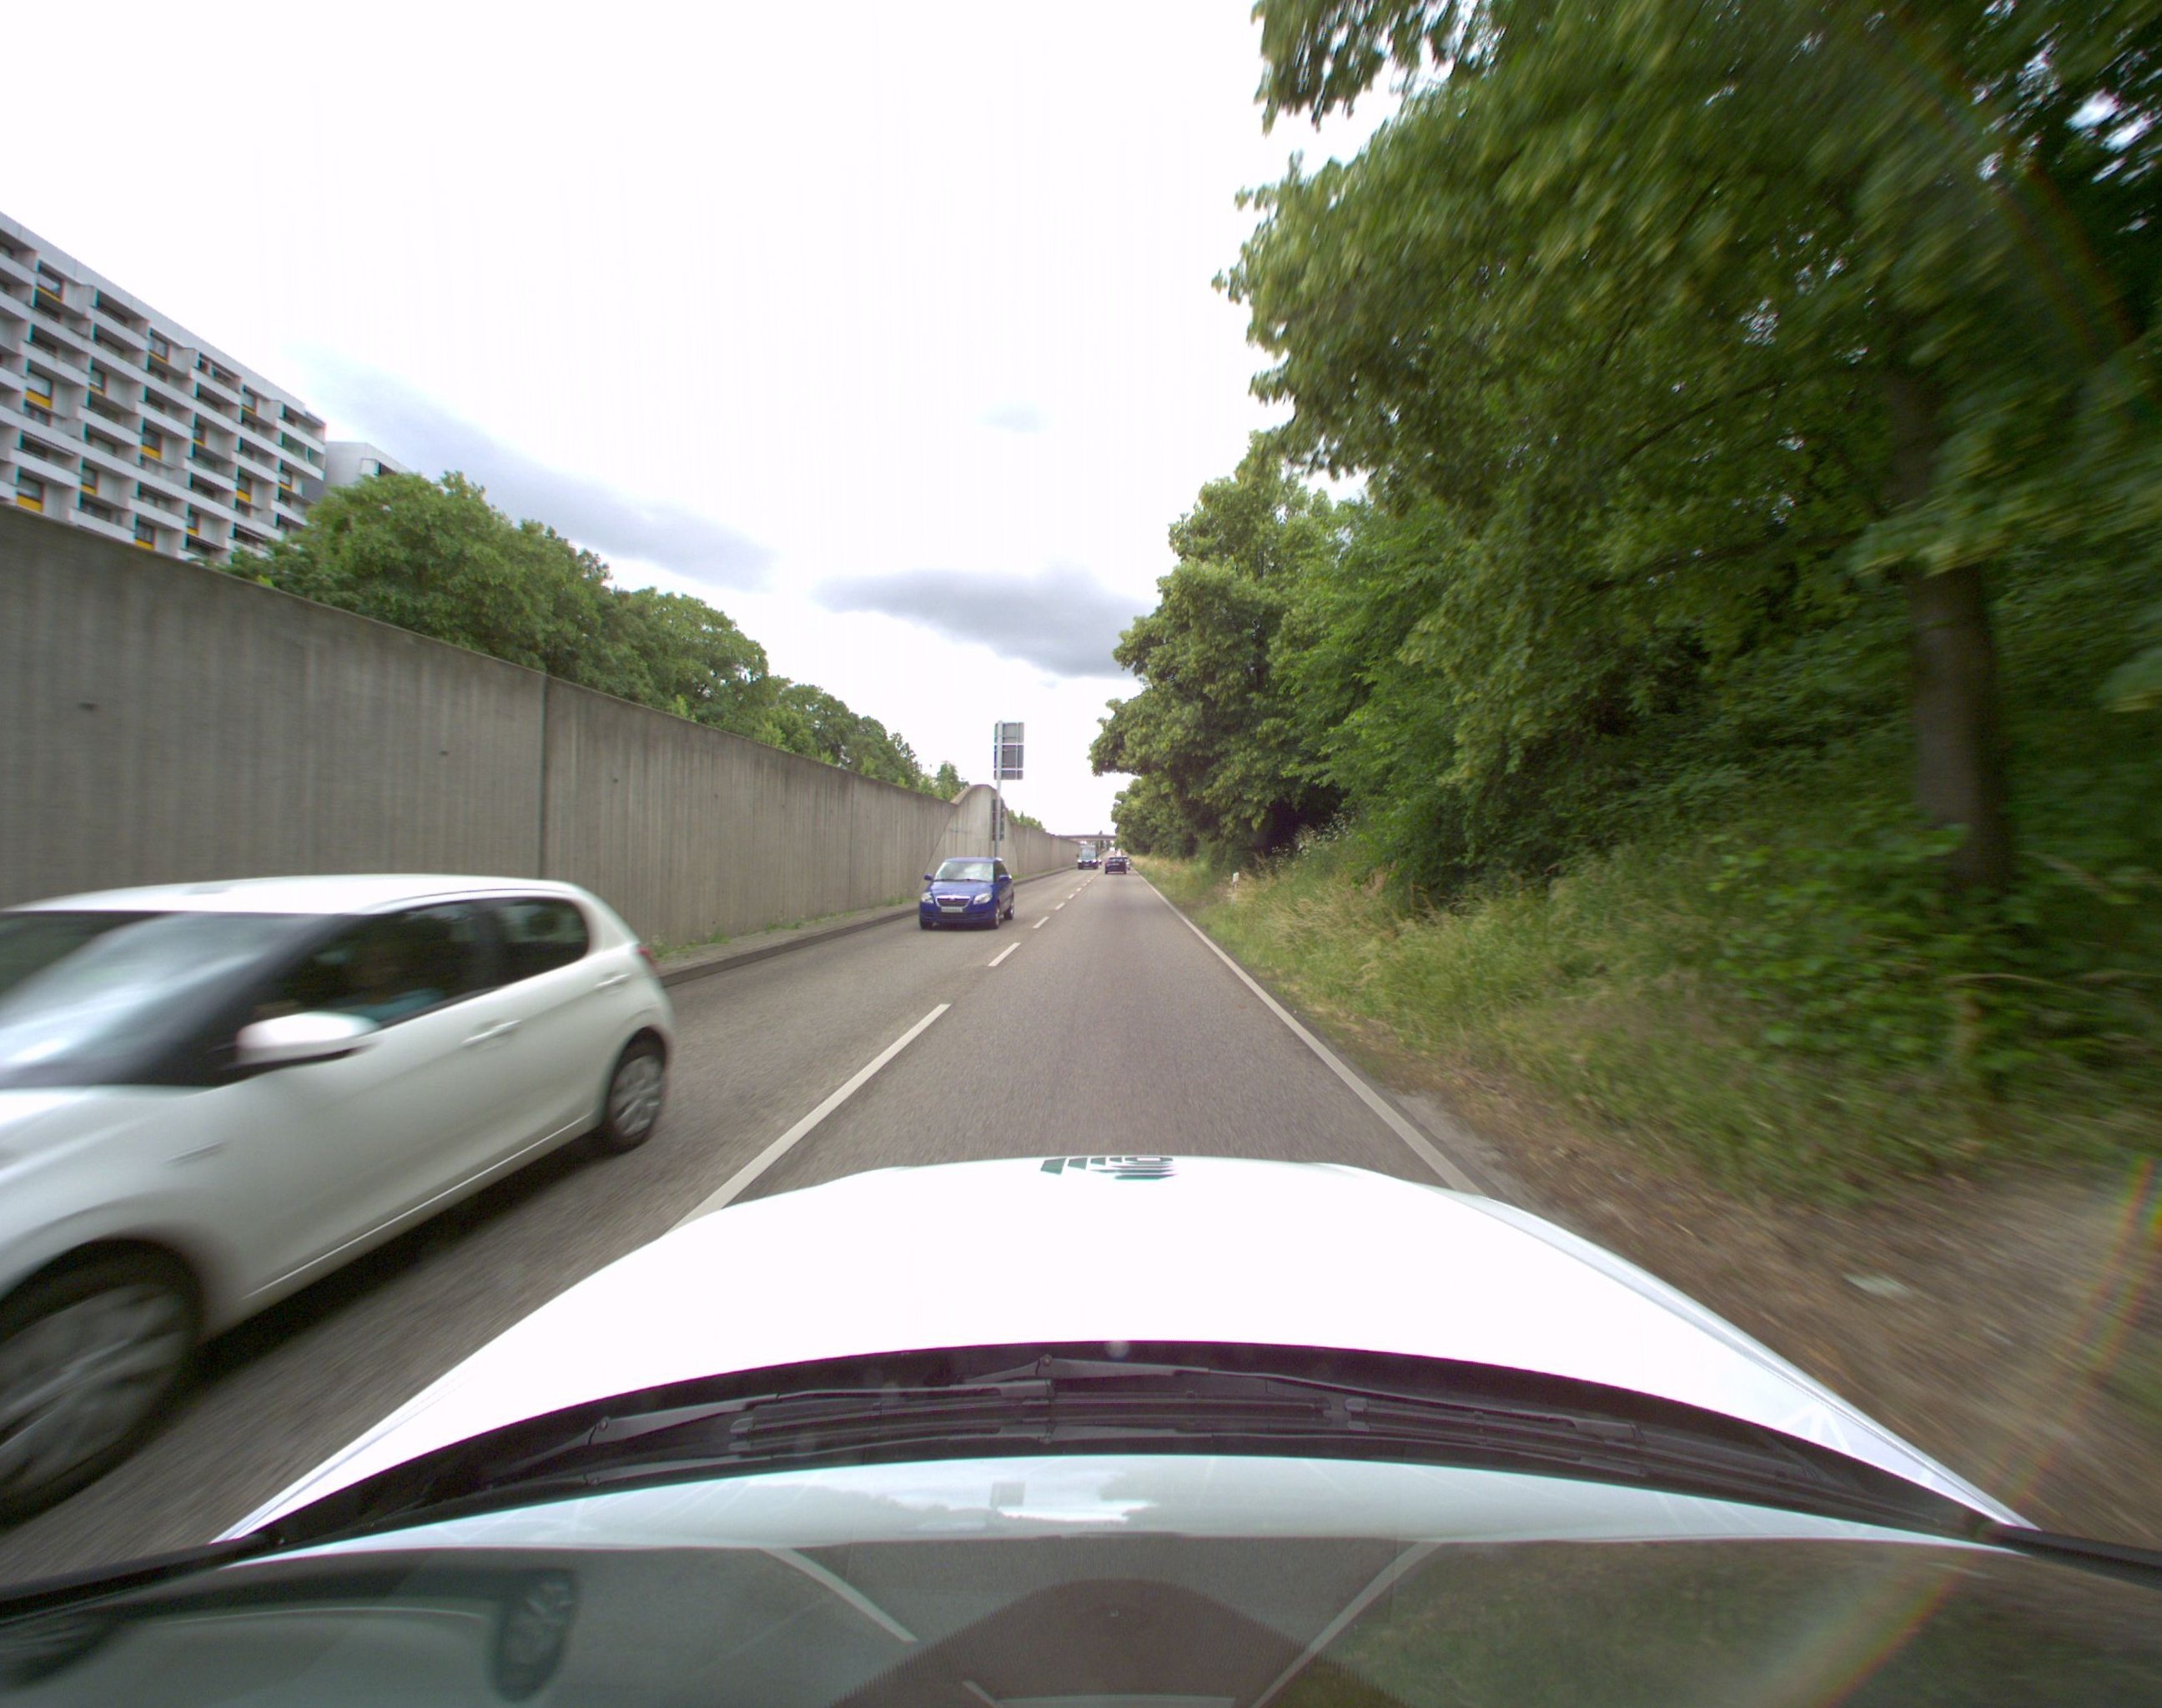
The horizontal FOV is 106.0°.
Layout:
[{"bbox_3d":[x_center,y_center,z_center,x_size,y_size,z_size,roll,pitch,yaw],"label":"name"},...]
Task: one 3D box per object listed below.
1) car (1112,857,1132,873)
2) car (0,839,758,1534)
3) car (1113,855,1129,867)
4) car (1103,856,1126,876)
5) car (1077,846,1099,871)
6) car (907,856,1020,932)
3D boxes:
[{"bbox_3d":[4.157,1.160,83.388,1.748,1.523,4.036,-3,-2,0],"label":"car"},{"bbox_3d":[-3.233,0.708,3.509,1.908,1.495,4.209,0,0,1],"label":"car"},{"bbox_3d":[5.250,0.947,106.705,1.860,1.490,4.257,3,0,1],"label":"car"},{"bbox_3d":[2.758,0.960,67.077,1.748,1.523,4.037,-2,-1,1],"label":"car"},{"bbox_3d":[0.797,0.470,90.279,2.101,2.630,7.422,-1,0,3],"label":"car"},{"bbox_3d":[-2.490,0.795,18.242,1.761,1.495,4.210,0,0,2],"label":"car"}]
